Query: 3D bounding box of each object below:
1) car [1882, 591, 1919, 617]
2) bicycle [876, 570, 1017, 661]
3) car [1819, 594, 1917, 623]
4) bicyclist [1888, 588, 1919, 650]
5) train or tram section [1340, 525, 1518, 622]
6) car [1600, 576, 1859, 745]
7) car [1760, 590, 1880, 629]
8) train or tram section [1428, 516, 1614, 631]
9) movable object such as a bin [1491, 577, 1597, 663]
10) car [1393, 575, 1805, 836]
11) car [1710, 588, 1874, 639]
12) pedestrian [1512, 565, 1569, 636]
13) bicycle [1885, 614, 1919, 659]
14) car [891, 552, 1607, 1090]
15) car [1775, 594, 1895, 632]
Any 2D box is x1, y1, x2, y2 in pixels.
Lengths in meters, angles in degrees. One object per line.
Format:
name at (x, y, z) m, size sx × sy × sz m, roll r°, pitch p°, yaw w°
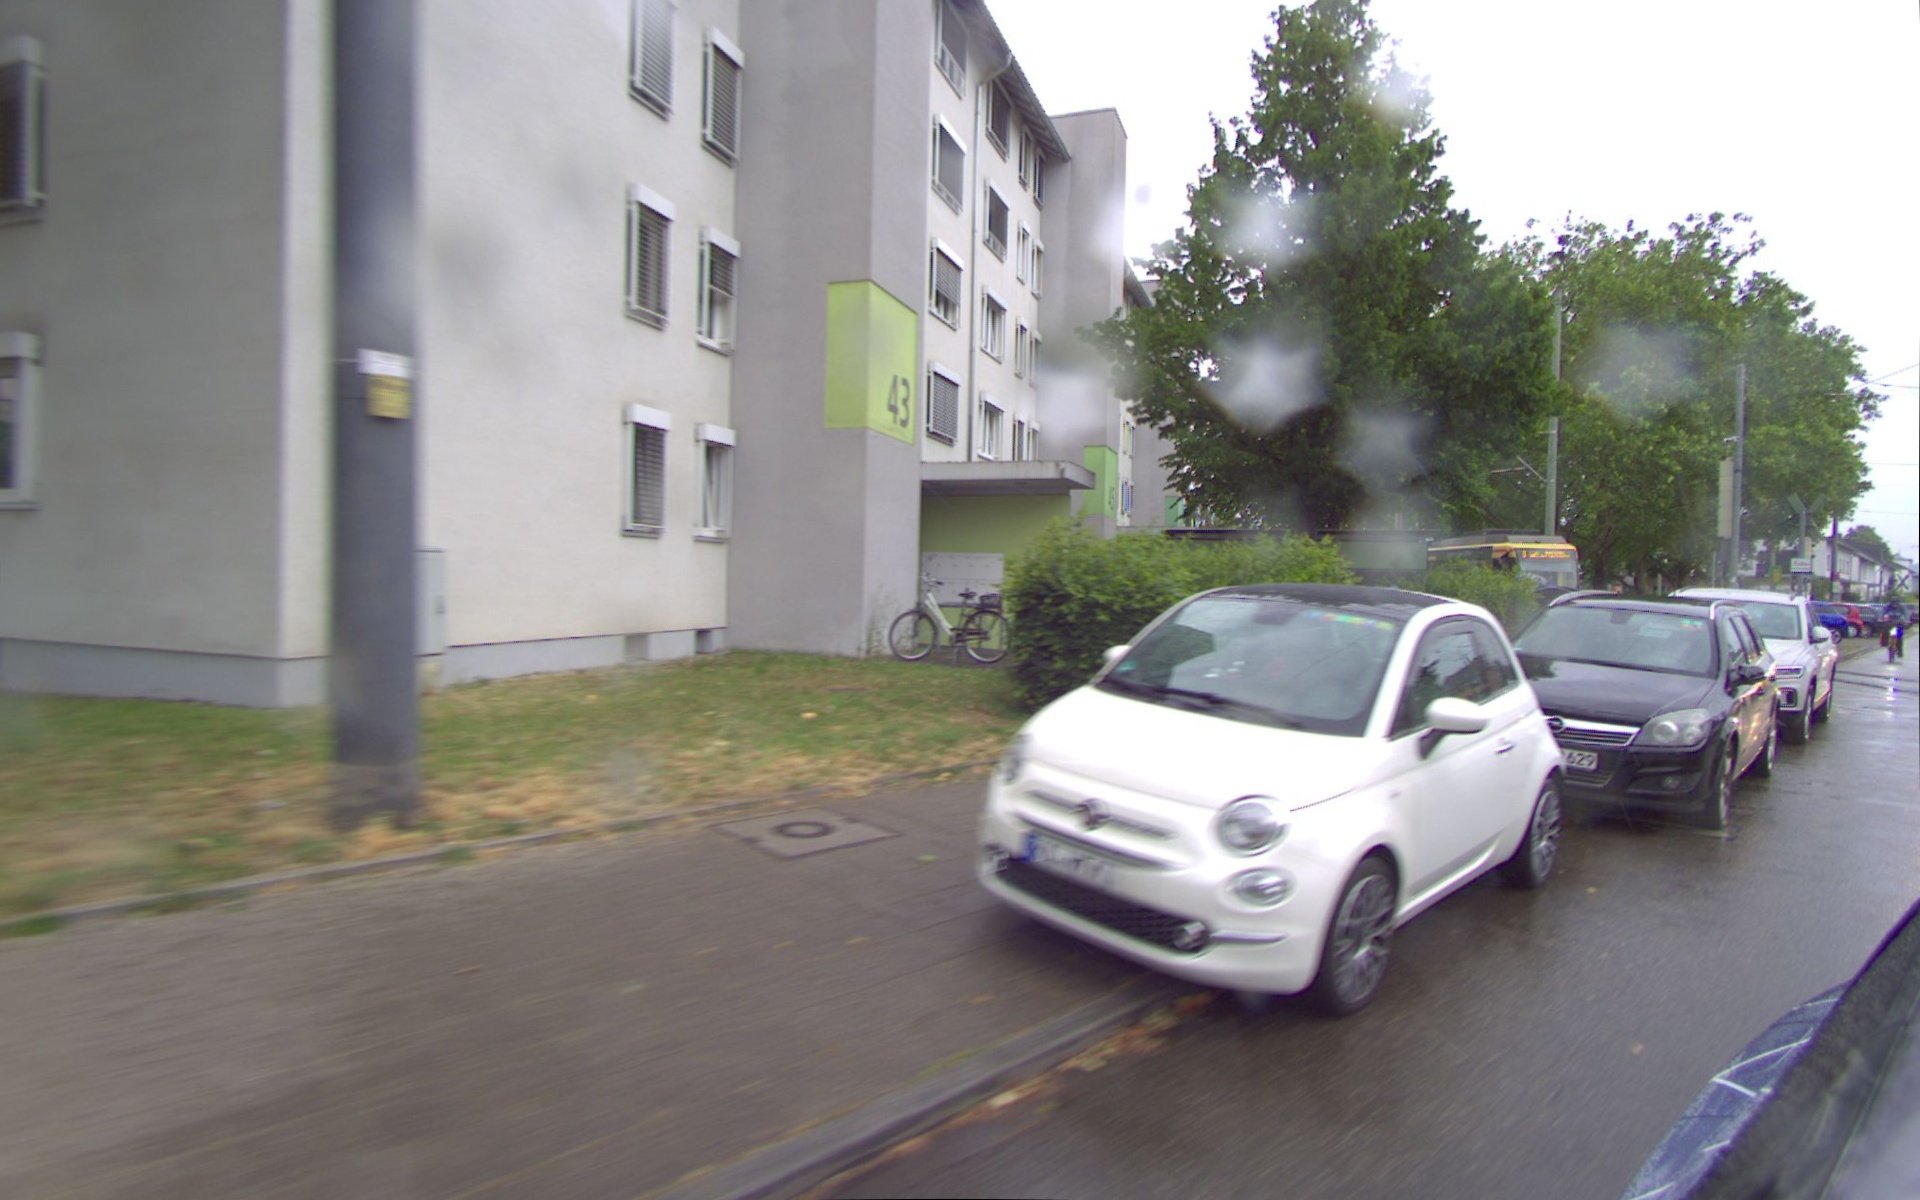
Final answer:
car at (67.834, 0.290, 71.381) m, size 1.643 × 1.743 × 3.995 m, roll 0°, pitch 1°, yaw -40°
bicycle at (-0.191, 0.186, 13.731) m, size 1.840 × 1.156 × 0.529 m, roll 2°, pitch 1°, yaw 23°
car at (50.774, 0.436, 56.683) m, size 3.663 × 1.433 × 1.608 m, roll 2°, pitch 2°, yaw 21°
bicyclist at (24.197, 0.478, 25.806) m, size 0.703 × 1.531 × 0.709 m, roll 0°, pitch 2°, yaw -44°
train or tram section at (18.718, -1.116, 41.409) m, size 2.707 × 3.381 × 10.348 m, roll 2°, pitch 2°, yaw 2°
car at (9.192, 0.566, 11.958) m, size 1.901 × 1.594 × 4.045 m, roll 3°, pitch 2°, yaw 45°
car at (36.875, 0.400, 43.494) m, size 3.533 × 1.477 × 1.609 m, roll 2°, pitch 2°, yaw 20°
train or tram section at (18.404, -0.893, 33.734) m, size 2.707 × 3.381 × 6.399 m, roll 2°, pitch 2°, yaw 2°
movable object such as a bin at (10.663, 0.336, 18.555) m, size 1.133 × 1.458 × 1.474 m, roll 2°, pitch 2°, yaw 7°
car at (5.225, 0.595, 8.024) m, size 1.901 × 1.467 × 4.117 m, roll 3°, pitch 2°, yaw 45°
car at (28.673, 0.446, 35.021) m, size 3.941 × 1.546 × 1.712 m, roll 2°, pitch 2°, yaw 14°
pedestrian at (15.337, -0.003, 26.758) m, size 0.848 × 1.796 × 1.019 m, roll 2°, pitch 1°, yaw -1°
bicycle at (24.163, 0.905, 25.797) m, size 2.064 × 1.050 × 0.709 m, roll 0°, pitch 2°, yaw -45°
car at (1.678, 0.612, 4.865) m, size 3.935 × 1.537 × 1.559 m, roll 0°, pitch 2°, yaw -45°
car at (39.412, 0.565, 45.686) m, size 3.663 × 1.502 × 1.608 m, roll 2°, pitch 2°, yaw 21°
